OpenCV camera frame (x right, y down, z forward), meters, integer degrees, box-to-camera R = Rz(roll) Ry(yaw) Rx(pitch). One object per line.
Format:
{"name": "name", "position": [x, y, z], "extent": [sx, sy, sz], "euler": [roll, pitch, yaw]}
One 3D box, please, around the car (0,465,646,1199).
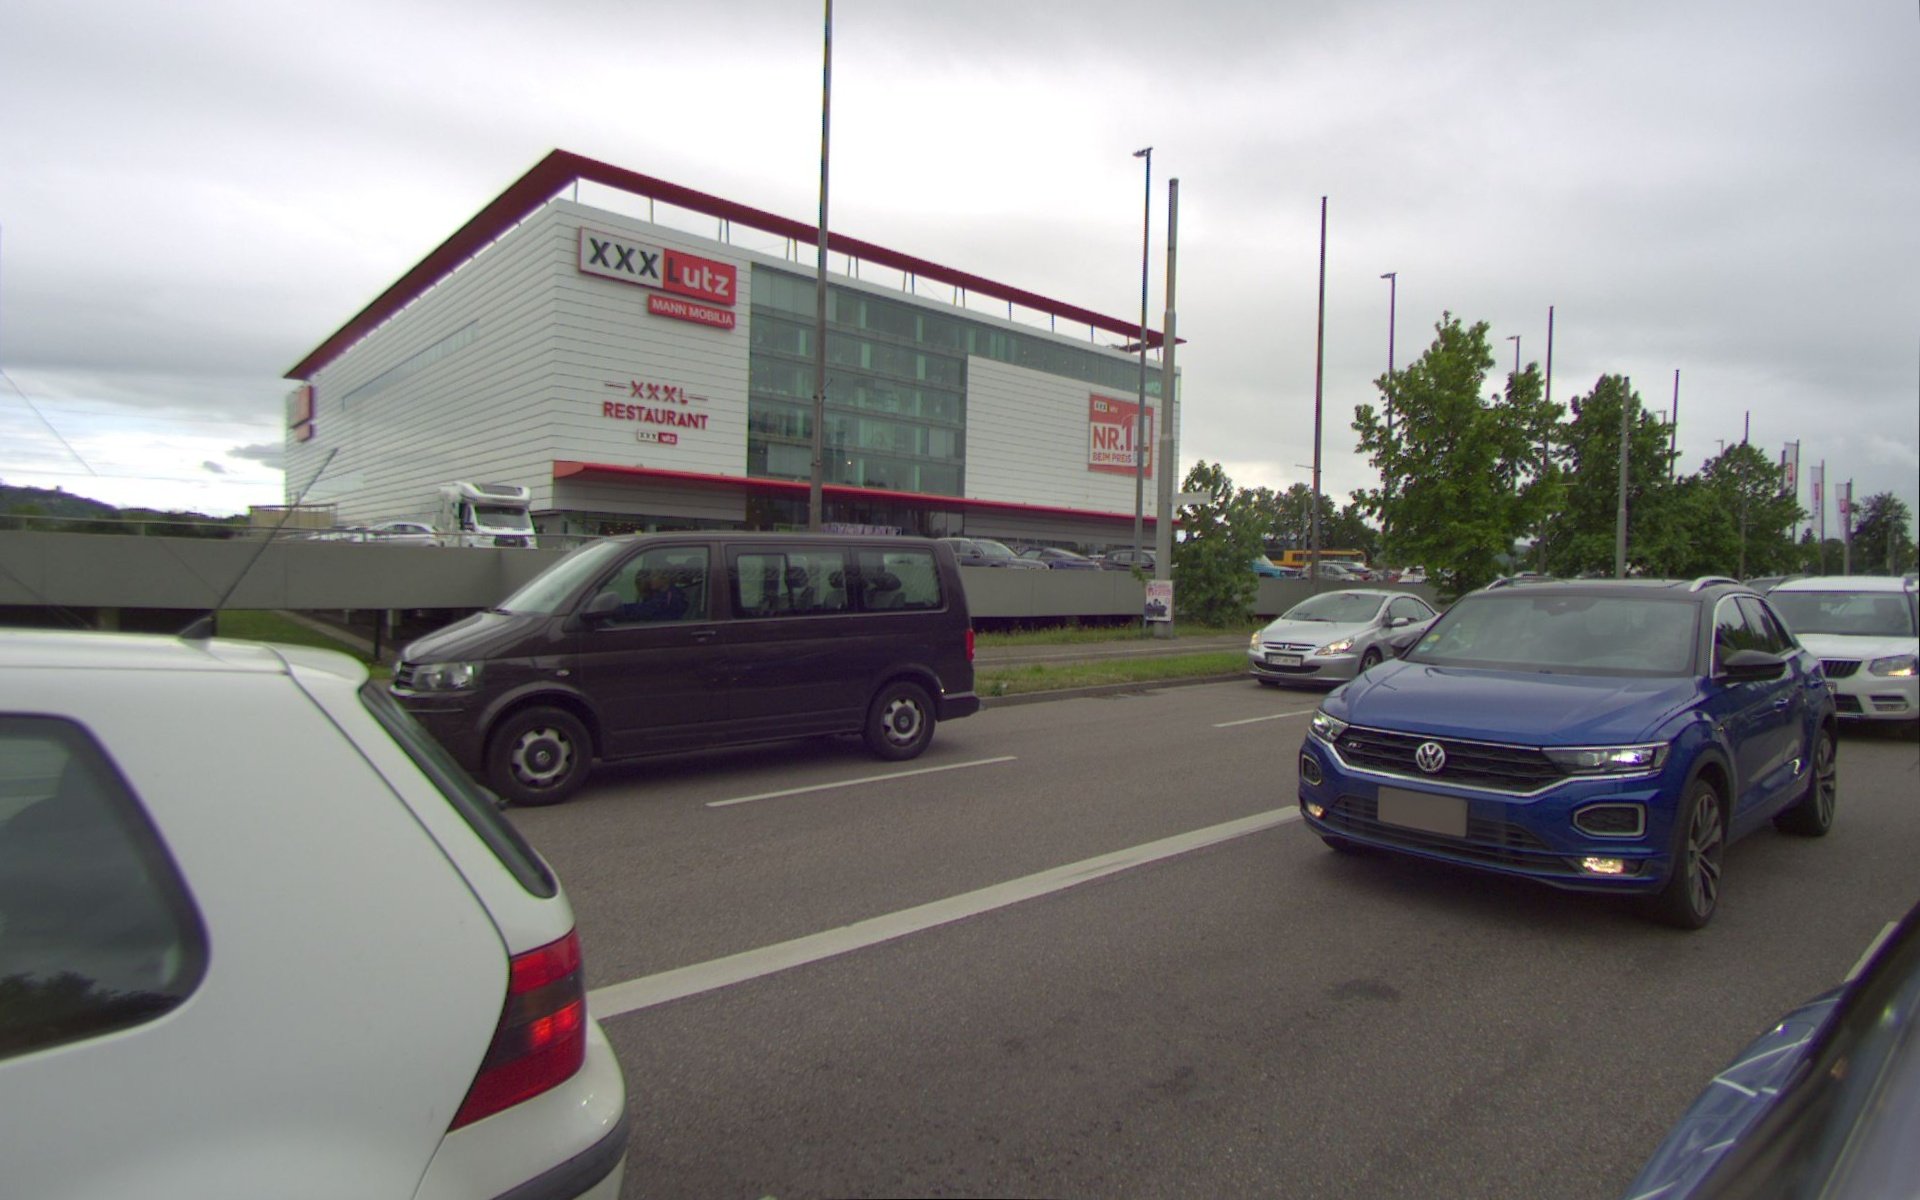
{"name": "car", "position": [-2.577, 0.624, 1.015], "extent": [3.935, 1.496, 1.836], "euler": [-2, 1, -41]}

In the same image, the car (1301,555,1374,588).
{"name": "car", "position": [24.586, -1.818, 65.982], "extent": [1.966, 2.039, 3.992], "euler": [-1, 1, -42]}

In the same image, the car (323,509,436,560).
{"name": "car", "position": [-24.885, -2.754, 43.415], "extent": [3.929, 2.039, 1.998], "euler": [-2, 1, -39]}

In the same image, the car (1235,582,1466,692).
{"name": "car", "position": [5.923, 0.460, 15.149], "extent": [3.860, 1.389, 1.691], "euler": [-2, 1, -43]}

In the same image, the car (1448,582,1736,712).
{"name": "car", "position": [8.455, 0.531, 13.350], "extent": [4.790, 1.429, 1.816], "euler": [1, 0, -40]}

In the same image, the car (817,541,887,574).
{"name": "car", "position": [-6.177, -2.377, 57.679], "extent": [1.967, 1.760, 3.991], "euler": [-1, 1, -43]}

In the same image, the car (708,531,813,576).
{"name": "car", "position": [-7.196, -1.623, 36.279], "extent": [1.839, 1.455, 3.984], "euler": [-1, 1, -43]}

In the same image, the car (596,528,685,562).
{"name": "car", "position": [-17.100, -2.902, 54.282], "extent": [4.185, 1.697, 1.774], "euler": [-2, 1, -41]}

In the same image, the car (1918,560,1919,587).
{"name": "car", "position": [84.650, -2.266, 87.797], "extent": [3.933, 2.270, 1.996], "euler": [0, 2, -44]}

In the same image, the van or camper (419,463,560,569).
{"name": "van or camper", "position": [-16.556, -2.743, 35.302], "extent": [2.667, 3.175, 7.226], "euler": [-1, 1, -40]}

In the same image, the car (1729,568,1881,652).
{"name": "car", "position": [18.420, 0.146, 21.997], "extent": [4.297, 1.645, 1.798], "euler": [-2, 1, -40]}

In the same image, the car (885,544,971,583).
{"name": "car", "position": [-1.549, -1.720, 48.347], "extent": [1.967, 1.760, 3.991], "euler": [-1, 1, -43]}

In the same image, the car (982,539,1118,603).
{"name": "car", "position": [2.773, -0.866, 31.792], "extent": [1.967, 1.872, 3.991], "euler": [-1, 1, -43]}

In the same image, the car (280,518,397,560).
{"name": "car", "position": [-27.481, -2.661, 44.813], "extent": [4.185, 1.697, 1.774], "euler": [-2, 1, -41]}

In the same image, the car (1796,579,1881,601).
{"name": "car", "position": [60.361, -0.690, 69.585], "extent": [1.771, 1.433, 4.212], "euler": [-1, 1, -41]}

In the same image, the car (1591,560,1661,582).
{"name": "car", "position": [49.254, -2.139, 74.893], "extent": [1.765, 1.585, 3.994], "euler": [-1, 1, -40]}

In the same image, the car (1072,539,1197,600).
{"name": "car", "position": [6.130, -1.034, 35.869], "extent": [1.966, 2.039, 3.992], "euler": [-1, 1, -42]}

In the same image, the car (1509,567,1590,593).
{"name": "car", "position": [36.722, -1.240, 63.121], "extent": [1.765, 1.585, 3.994], "euler": [-1, 1, -40]}

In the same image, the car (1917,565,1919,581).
{"name": "car", "position": [122.816, -3.394, 126.317], "extent": [4.683, 2.039, 1.974], "euler": [0, 1, 37]}

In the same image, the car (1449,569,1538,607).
{"name": "car", "position": [29.711, -0.687, 56.434], "extent": [1.965, 2.039, 3.994], "euler": [-1, 1, -40]}

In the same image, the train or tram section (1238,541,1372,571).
{"name": "train or tram section", "position": [59.718, -7.575, 176.716], "extent": [3.572, 4.898, 23.234], "euler": [-1, 2, -43]}

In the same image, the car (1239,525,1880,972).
{"name": "car", "position": [3.644, 0.496, 5.798], "extent": [4.255, 1.642, 1.846], "euler": [-2, 1, -40]}

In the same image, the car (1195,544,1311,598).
{"name": "car", "position": [11.611, -1.129, 40.262], "extent": [1.966, 2.039, 3.992], "euler": [-1, 1, -42]}

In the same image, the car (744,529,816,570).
{"name": "car", "position": [-9.739, -2.665, 54.615], "extent": [1.966, 2.039, 3.992], "euler": [-1, 1, -42]}

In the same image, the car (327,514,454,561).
{"name": "car", "position": [-22.769, -2.459, 40.527], "extent": [4.185, 1.697, 1.774], "euler": [-2, 1, -41]}

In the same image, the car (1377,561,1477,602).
{"name": "car", "position": [24.280, -0.954, 52.682], "extent": [1.966, 2.039, 4.318], "euler": [-1, 1, -42]}

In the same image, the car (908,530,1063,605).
{"name": "car", "position": [0.660, -0.901, 29.746], "extent": [1.967, 2.039, 4.522], "euler": [-1, 1, -43]}

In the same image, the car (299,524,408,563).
{"name": "car", "position": [-28.590, -2.643, 47.754], "extent": [4.185, 1.697, 1.774], "euler": [-2, 1, -41]}

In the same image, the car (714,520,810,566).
{"name": "car", "position": [-9.322, -2.677, 47.929], "extent": [4.103, 2.039, 2.000], "euler": [-1, 1, 1]}

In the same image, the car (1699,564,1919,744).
{"name": "car", "position": [9.920, 0.443, 11.219], "extent": [4.297, 1.645, 1.798], "euler": [-2, 1, -40]}

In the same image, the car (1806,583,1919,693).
{"name": "car", "position": [14.281, 0.489, 15.170], "extent": [4.145, 1.433, 1.800], "euler": [-2, 1, -41]}

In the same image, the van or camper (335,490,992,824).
{"name": "van or camper", "position": [-2.291, 0.290, 8.512], "extent": [4.852, 2.039, 2.163], "euler": [-2, 1, -37]}

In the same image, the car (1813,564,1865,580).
{"name": "car", "position": [117.383, -3.757, 135.214], "extent": [1.966, 2.039, 5.082], "euler": [-1, 1, -42]}
